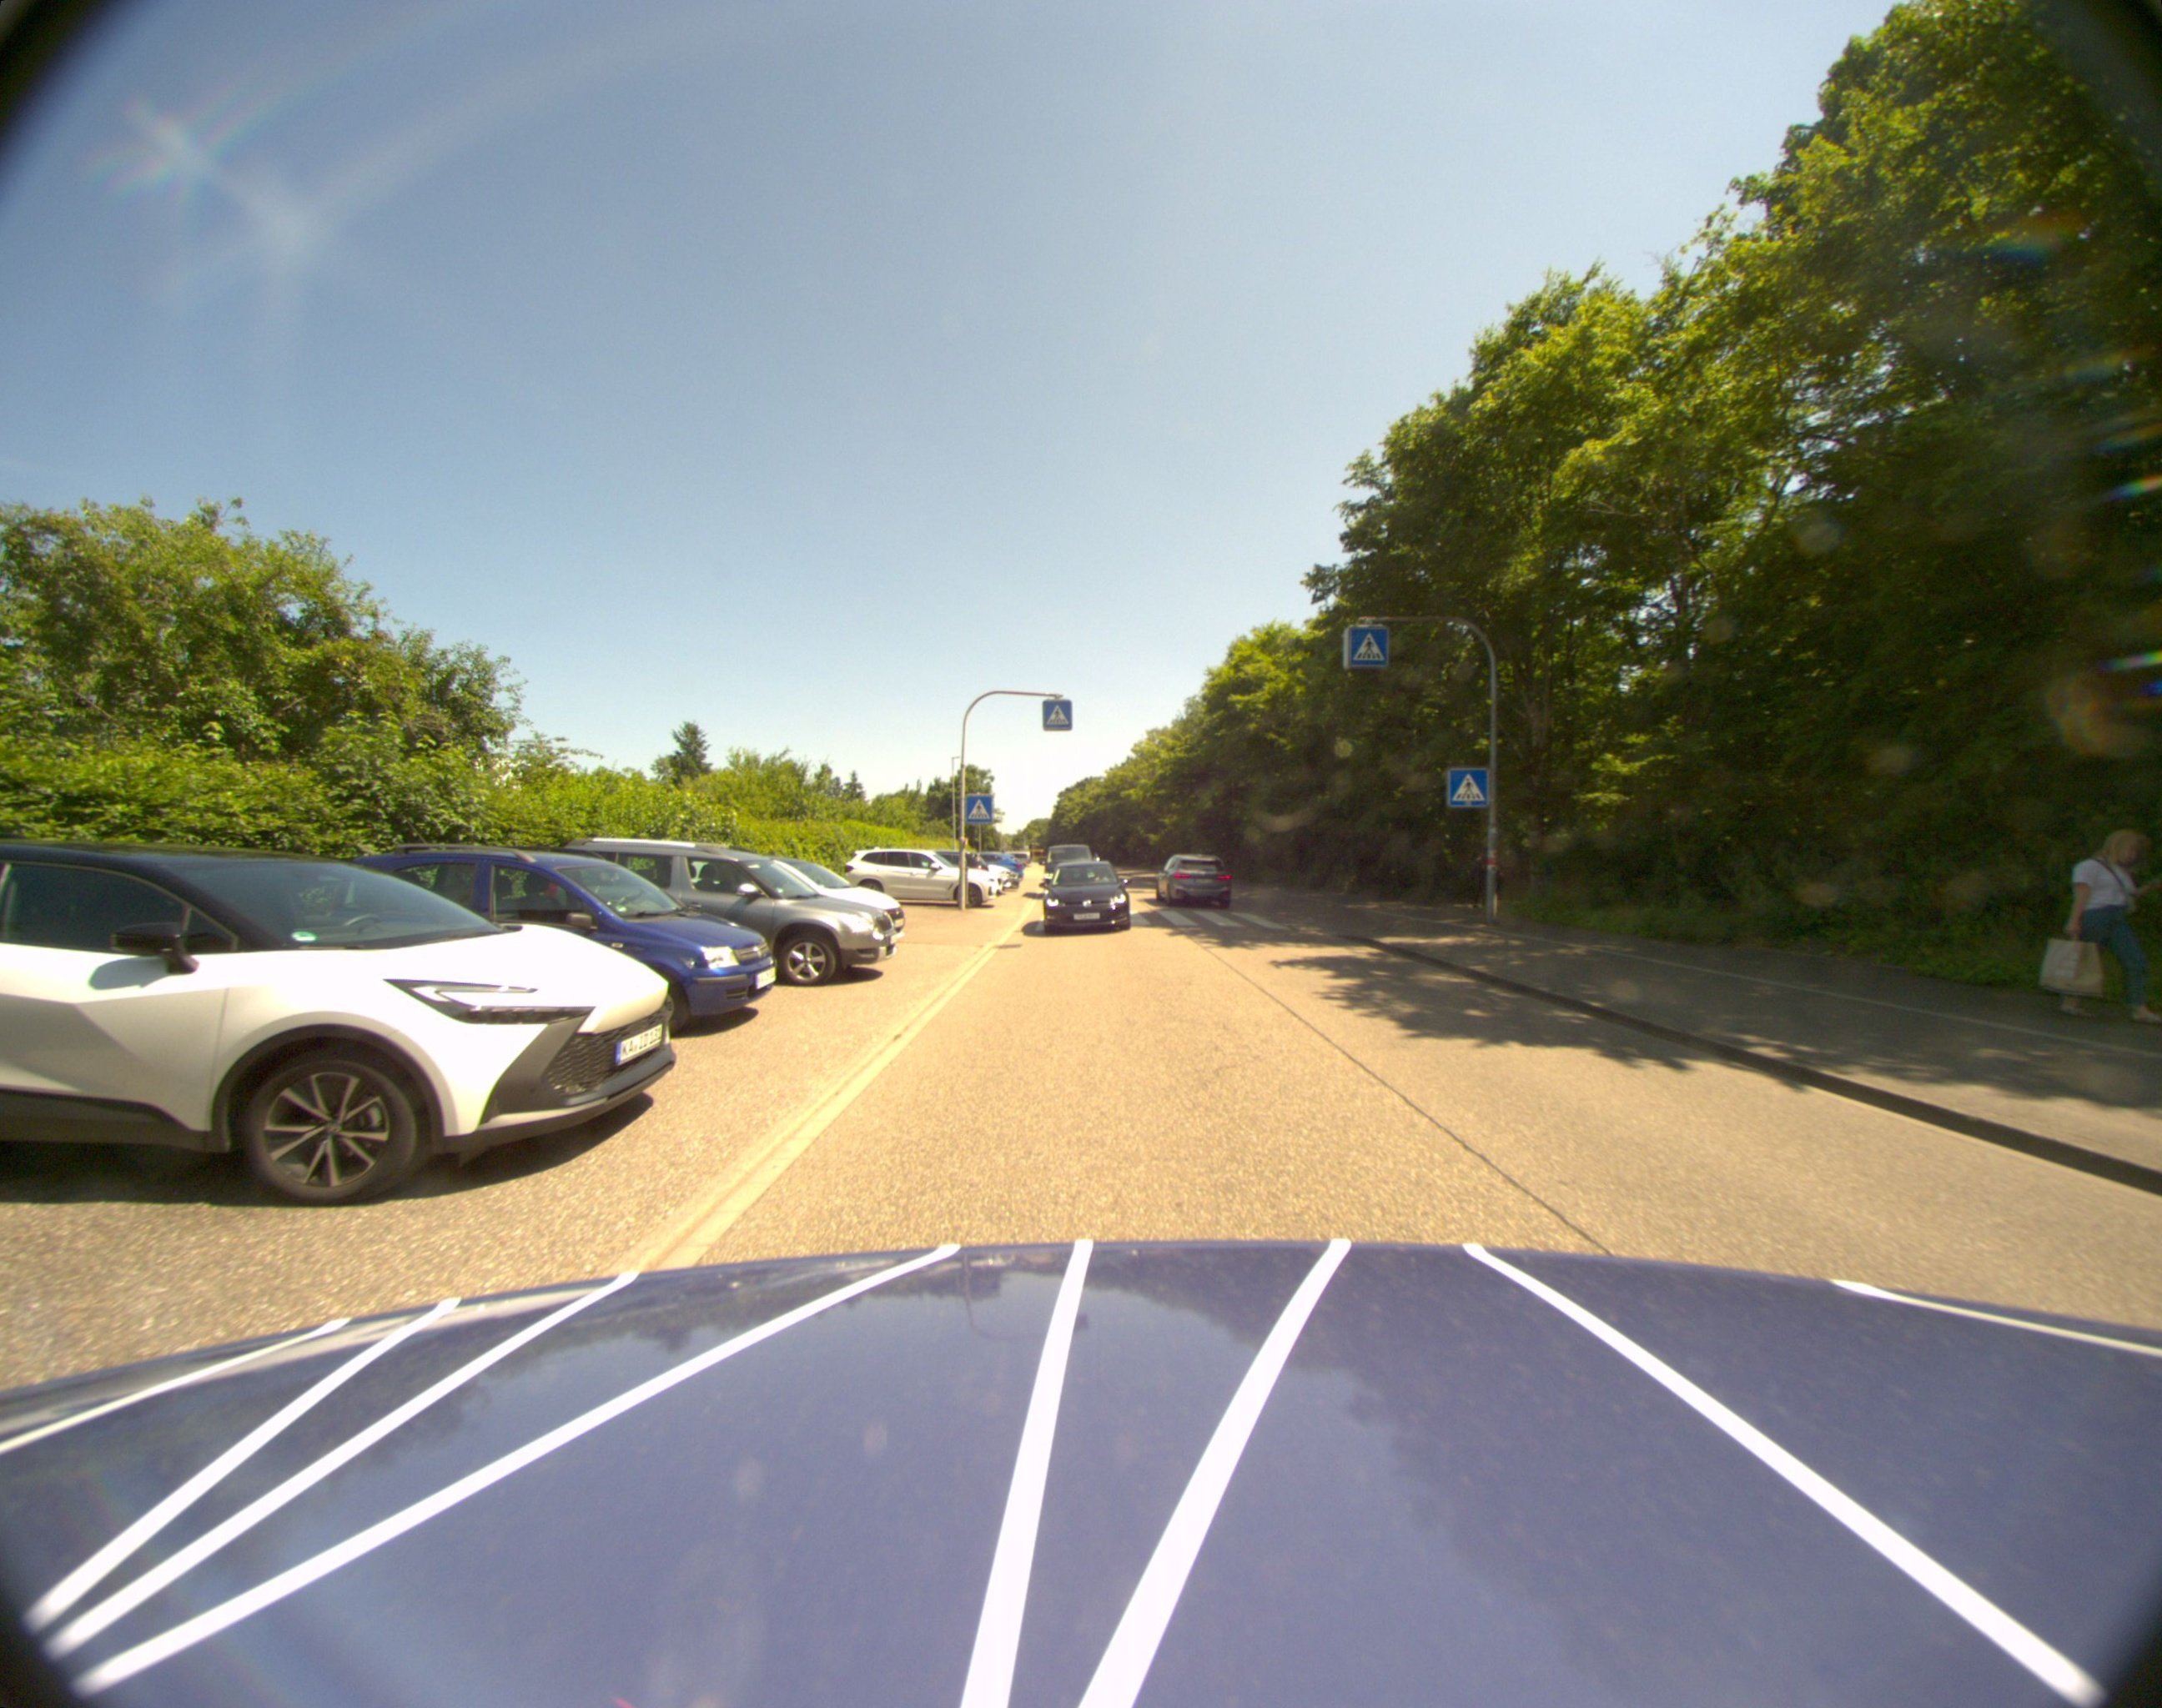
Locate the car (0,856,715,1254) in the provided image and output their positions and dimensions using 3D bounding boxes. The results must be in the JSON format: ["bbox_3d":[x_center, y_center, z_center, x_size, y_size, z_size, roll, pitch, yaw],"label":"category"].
[{"bbox_3d":[-4.395,0.867,4.009,3.974,1.514,1.863,3,0,-6],"label":"car"}]

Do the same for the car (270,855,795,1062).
[{"bbox_3d":[-4.604,0.858,6.819,3.462,1.518,1.539,3,0,-5],"label":"car"}]

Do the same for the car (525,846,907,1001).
[{"bbox_3d":[-4.392,0.822,9.656,3.972,1.631,1.663,3,0,-4],"label":"car"}]

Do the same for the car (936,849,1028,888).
[{"bbox_3d":[-4.581,0.639,35.426,4.036,1.632,1.673,2,1,-1],"label":"car"}]

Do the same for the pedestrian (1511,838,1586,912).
[{"bbox_3d":[11.526,0.516,18.765,1.158,1.740,1.023,-2,-1,-4],"label":"pedestrian"}]

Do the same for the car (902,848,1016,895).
[{"bbox_3d":[-4.703,0.664,29.656,4.171,1.632,1.775,2,1,-3],"label":"car"}]

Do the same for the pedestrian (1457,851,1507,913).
[{"bbox_3d":[10.560,0.730,20.031,0.896,1.602,0.780,-1,1,-8],"label":"pedestrian"}]

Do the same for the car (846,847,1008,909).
[{"bbox_3d":[-4.564,0.686,22.983,4.465,1.720,1.850,1,1,0],"label":"car"}]

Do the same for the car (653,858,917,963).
[{"bbox_3d":[-4.820,0.885,12.669,3.697,1.442,1.610,3,0,4],"label":"car"}]

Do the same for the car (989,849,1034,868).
[{"bbox_3d":[-7.148,0.442,77.993,4.494,1.840,1.694,2,0,-5],"label":"car"}]

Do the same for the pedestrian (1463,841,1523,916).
[{"bbox_3d":[10.418,0.606,19.219,1.086,1.853,0.783,-1,1,-8],"label":"pedestrian"}]

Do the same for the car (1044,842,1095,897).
[{"bbox_3d":[-0.475,0.547,29.132,1.743,1.905,4.387,-2,0,-2],"label":"car"}]

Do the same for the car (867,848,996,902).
[{"bbox_3d":[-4.964,0.684,25.639,3.983,1.676,1.766,1,1,-1],"label":"car"}]

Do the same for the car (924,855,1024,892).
[{"bbox_3d":[-4.521,0.800,32.518,4.037,1.401,1.679,2,1,-2],"label":"car"}]

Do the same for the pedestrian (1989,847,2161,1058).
[{"bbox_3d":[8.508,0.756,6.285,0.934,1.603,0.885,-1,1,-1],"label":"pedestrian"}]

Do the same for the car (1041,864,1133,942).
[{"bbox_3d":[0.050,0.985,17.028,1.743,1.396,4.387,-2,0,-2],"label":"car"}]

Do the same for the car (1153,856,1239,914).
[{"bbox_3d":[3.463,0.893,23.617,1.896,1.523,4.196,3,0,-1],"label":"car"}]
